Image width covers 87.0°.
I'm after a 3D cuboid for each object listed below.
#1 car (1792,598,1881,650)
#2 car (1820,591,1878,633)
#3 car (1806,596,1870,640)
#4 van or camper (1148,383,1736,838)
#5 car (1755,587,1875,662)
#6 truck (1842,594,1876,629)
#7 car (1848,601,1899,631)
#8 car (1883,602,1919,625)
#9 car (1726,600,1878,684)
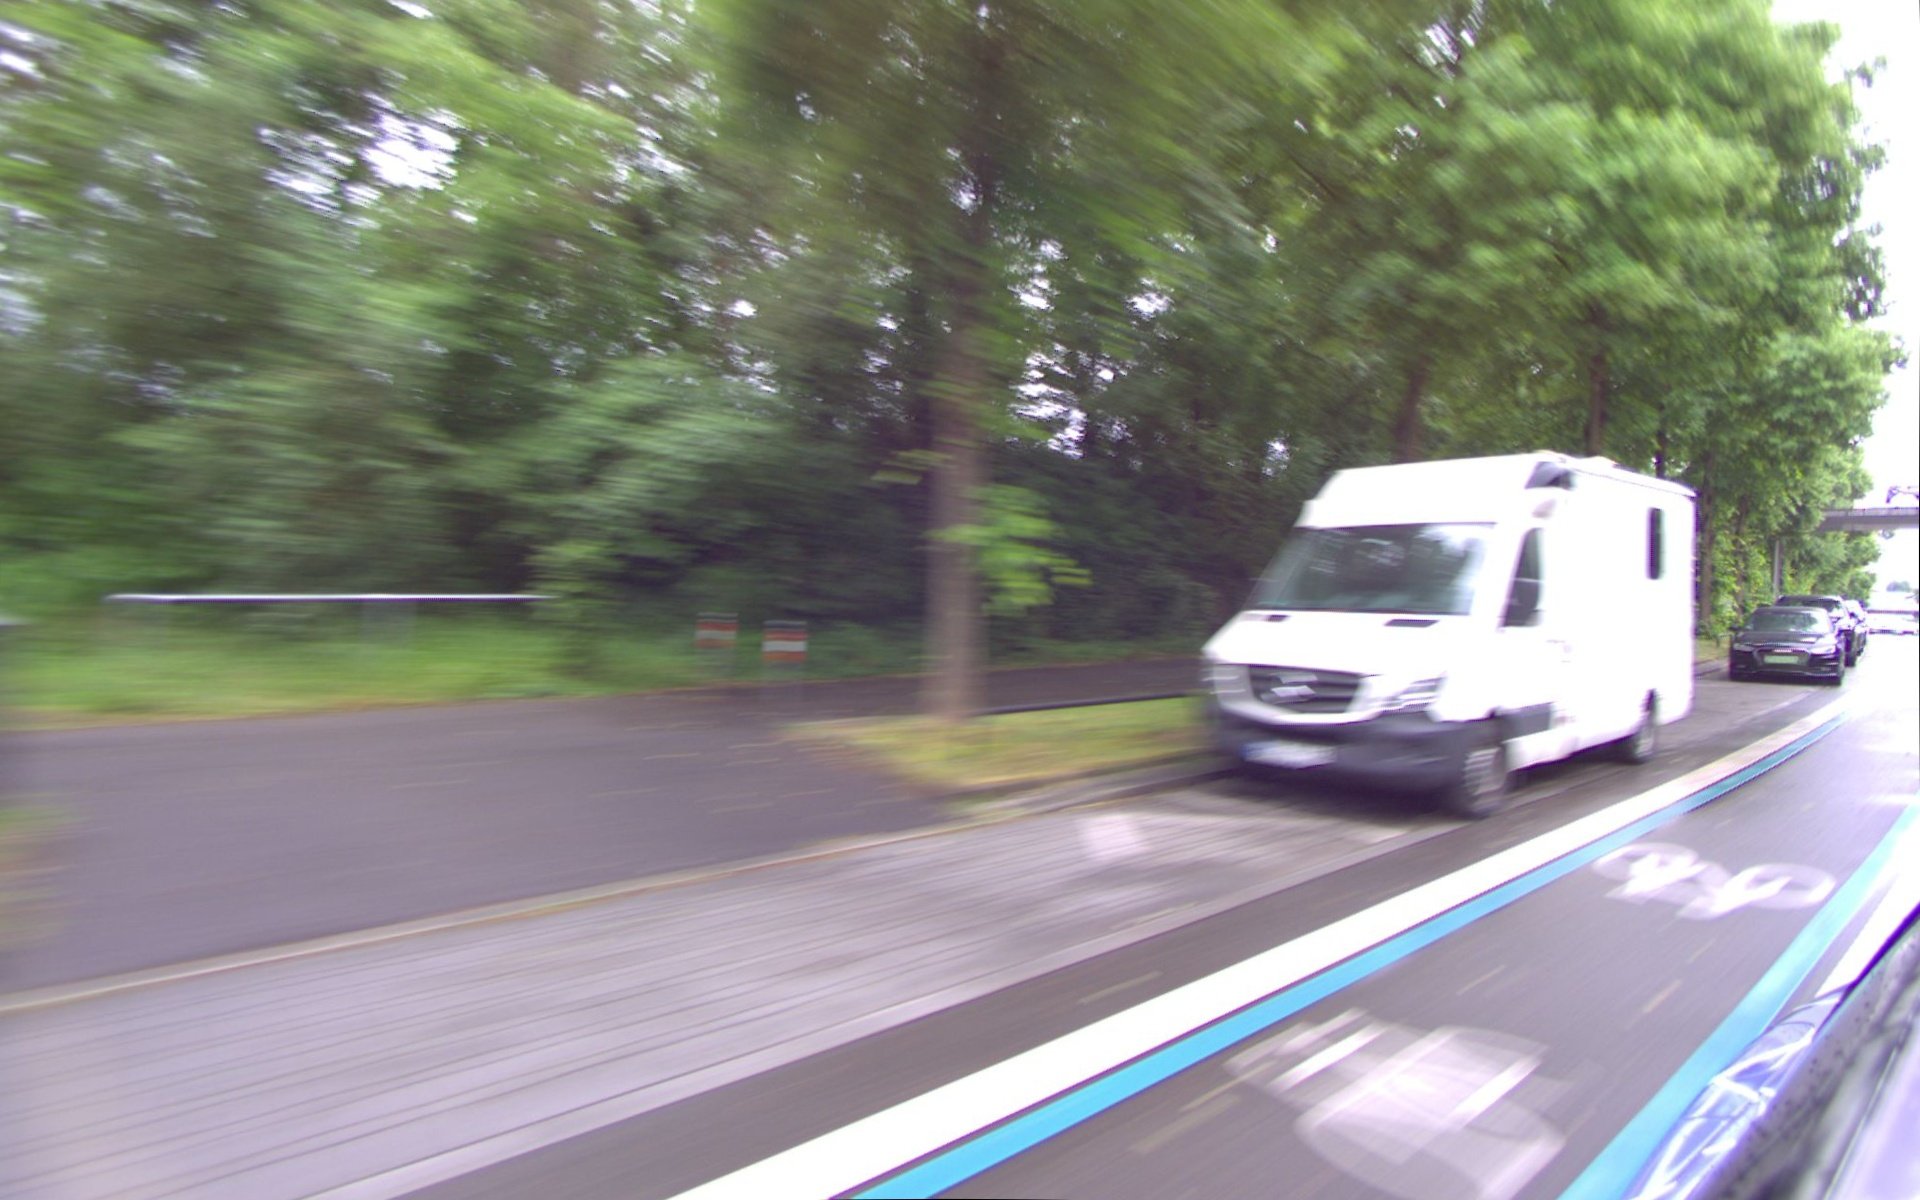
[{"bbox_3d":[26.174,0.656,30.179,1.775,1.365,4.395,1,1,44],"label":"car"},{"bbox_3d":[36.847,0.455,41.998,1.712,1.639,4.197,1,1,41],"label":"car"},{"bbox_3d":[32.838,0.622,37.831,1.717,1.393,4.490,1,2,42],"label":"car"},{"bbox_3d":[4.581,0.054,8.919,6.269,2.698,2.321,0,0,-40],"label":"van or camper"},{"bbox_3d":[21.378,0.543,25.254,1.993,1.666,4.279,-1,0,44],"label":"car"},{"bbox_3d":[64.648,0.837,72.772,1.718,2.363,3.938,1,-1,42],"label":"truck"},{"bbox_3d":[53.458,0.945,59.284,1.991,1.580,4.575,2,-1,39],"label":"car"},{"bbox_3d":[65.222,0.964,70.205,1.720,1.416,4.520,2,-1,42],"label":"car"},{"bbox_3d":[16.589,0.740,19.883,3.930,1.393,1.681,-1,2,-41],"label":"car"}]
